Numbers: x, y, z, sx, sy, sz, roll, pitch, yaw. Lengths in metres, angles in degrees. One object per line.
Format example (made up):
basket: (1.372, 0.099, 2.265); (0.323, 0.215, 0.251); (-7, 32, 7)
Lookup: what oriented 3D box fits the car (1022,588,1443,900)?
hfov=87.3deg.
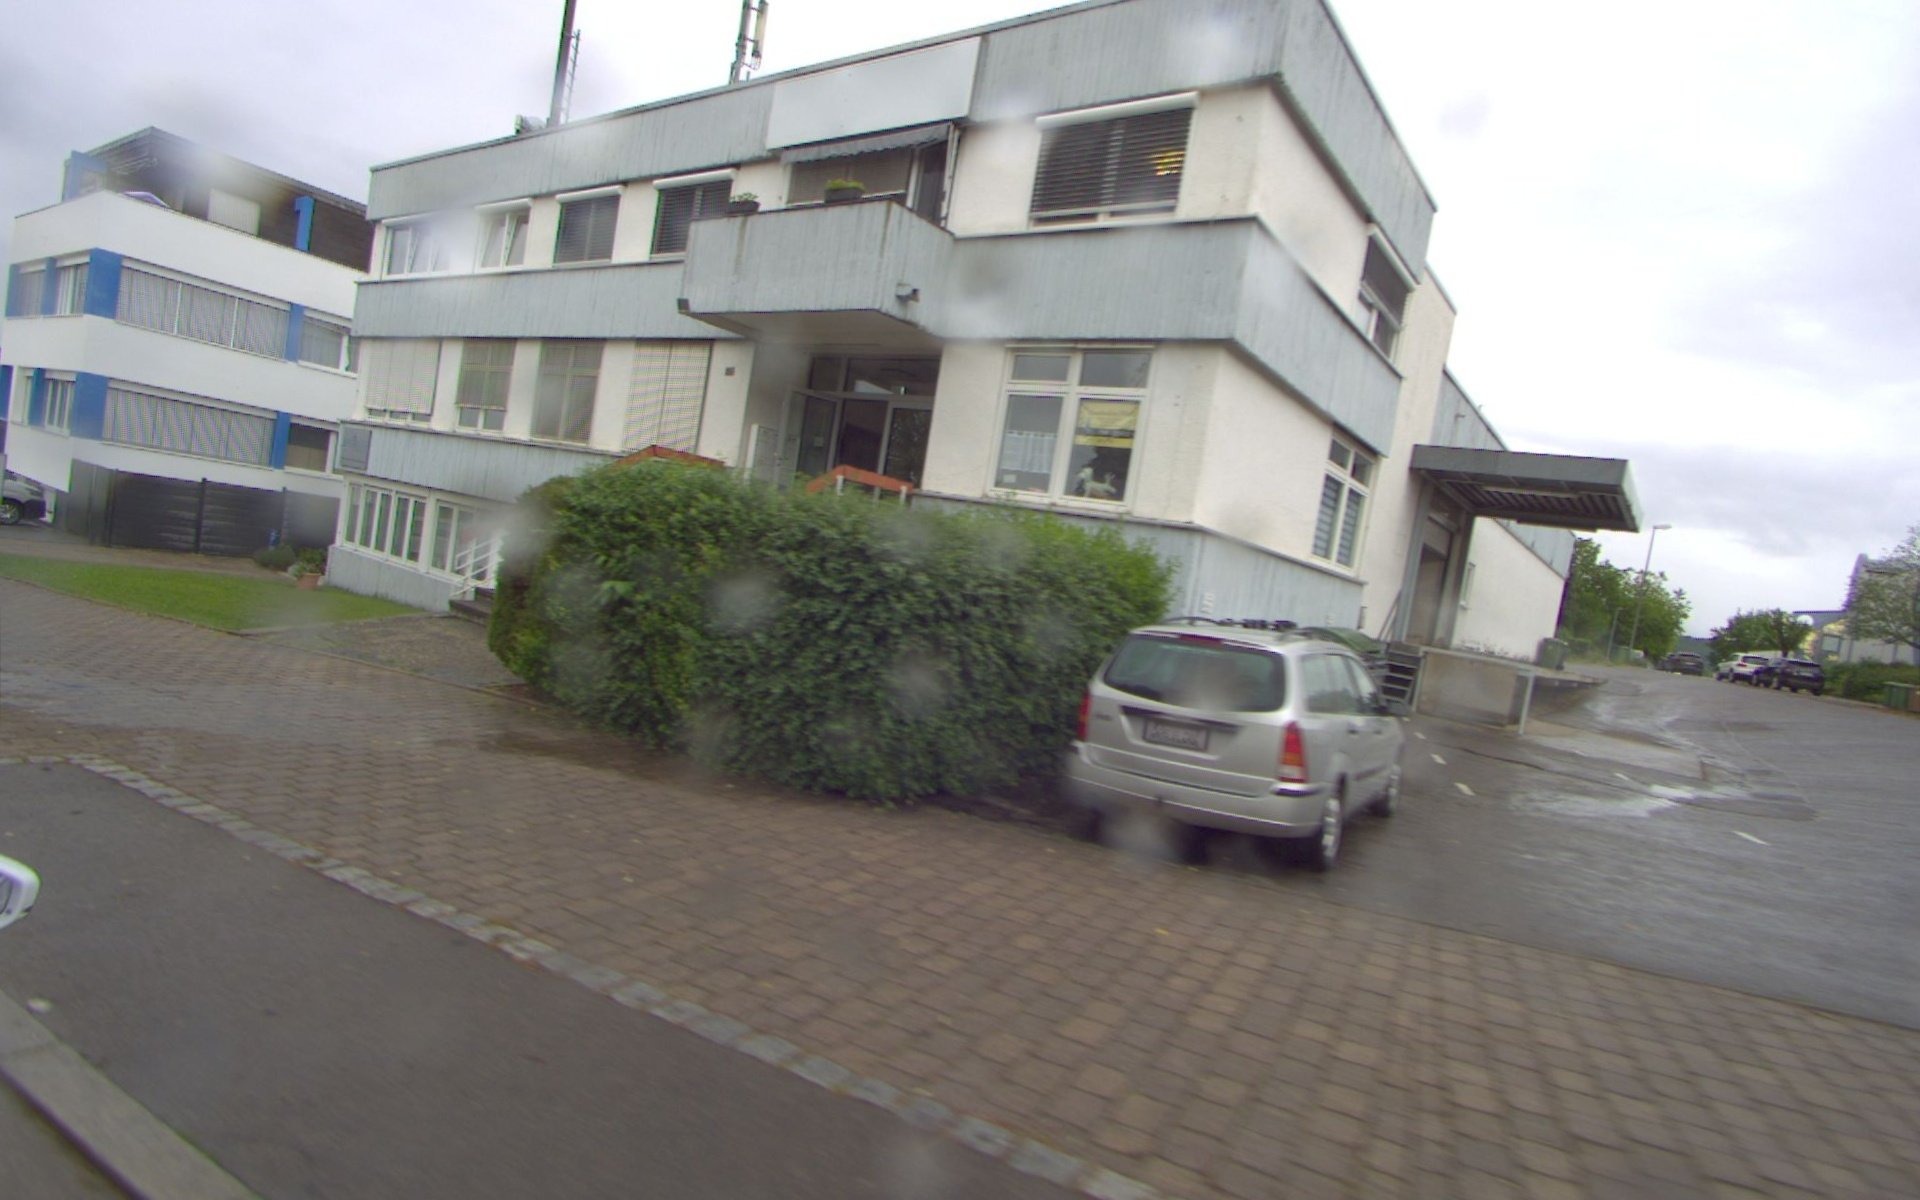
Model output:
car: (2.412, 0.910, 7.916); (1.829, 1.605, 4.313); (6, 0, 33)

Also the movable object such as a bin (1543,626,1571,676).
movable object such as a bin: (21.400, 1.837, 36.069); (0.535, 1.684, 1.737); (6, 1, 37)

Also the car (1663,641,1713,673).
car: (50.094, 3.922, 69.288); (2.157, 1.899, 3.991); (7, 1, 30)

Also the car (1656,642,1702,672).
car: (52.533, 4.159, 73.552); (2.157, 1.899, 3.991); (7, 1, 30)

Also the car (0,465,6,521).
car: (-29.258, -3.196, 27.292); (2.047, 1.559, 4.591); (7, 2, 36)

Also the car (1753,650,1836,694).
car: (41.263, 3.502, 49.854); (1.897, 1.723, 3.994); (7, 2, 23)

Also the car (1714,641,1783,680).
car: (43.455, 3.303, 55.544); (1.870, 1.764, 3.993); (7, 2, 23)

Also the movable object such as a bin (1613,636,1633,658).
movable object such as a bin: (39.389, 2.783, 59.762); (0.642, 1.220, 0.927); (6, 1, 14)

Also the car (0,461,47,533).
car: (-26.604, -2.884, 25.803); (2.056, 1.796, 4.339); (7, 1, 35)

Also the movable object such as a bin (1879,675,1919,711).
movable object such as a bin: (40.352, 3.989, 43.200); (0.761, 1.420, 1.042); (6, 1, 12)

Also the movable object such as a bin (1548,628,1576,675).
movable object such as a bin: (22.500, 1.941, 37.592); (0.535, 1.684, 1.981); (6, 1, 37)

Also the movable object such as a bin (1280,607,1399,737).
movable object such as a bin: (4.990, 0.908, 13.207); (1.013, 1.516, 1.303); (7, 3, 36)

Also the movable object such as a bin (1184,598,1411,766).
movable object such as a bin: (3.874, 0.854, 11.410); (1.706, 1.524, 2.264); (7, 3, 36)

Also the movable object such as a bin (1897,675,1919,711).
movable object such as a bin: (39.889, 3.900, 41.893); (0.761, 1.414, 0.965); (6, 1, 12)
